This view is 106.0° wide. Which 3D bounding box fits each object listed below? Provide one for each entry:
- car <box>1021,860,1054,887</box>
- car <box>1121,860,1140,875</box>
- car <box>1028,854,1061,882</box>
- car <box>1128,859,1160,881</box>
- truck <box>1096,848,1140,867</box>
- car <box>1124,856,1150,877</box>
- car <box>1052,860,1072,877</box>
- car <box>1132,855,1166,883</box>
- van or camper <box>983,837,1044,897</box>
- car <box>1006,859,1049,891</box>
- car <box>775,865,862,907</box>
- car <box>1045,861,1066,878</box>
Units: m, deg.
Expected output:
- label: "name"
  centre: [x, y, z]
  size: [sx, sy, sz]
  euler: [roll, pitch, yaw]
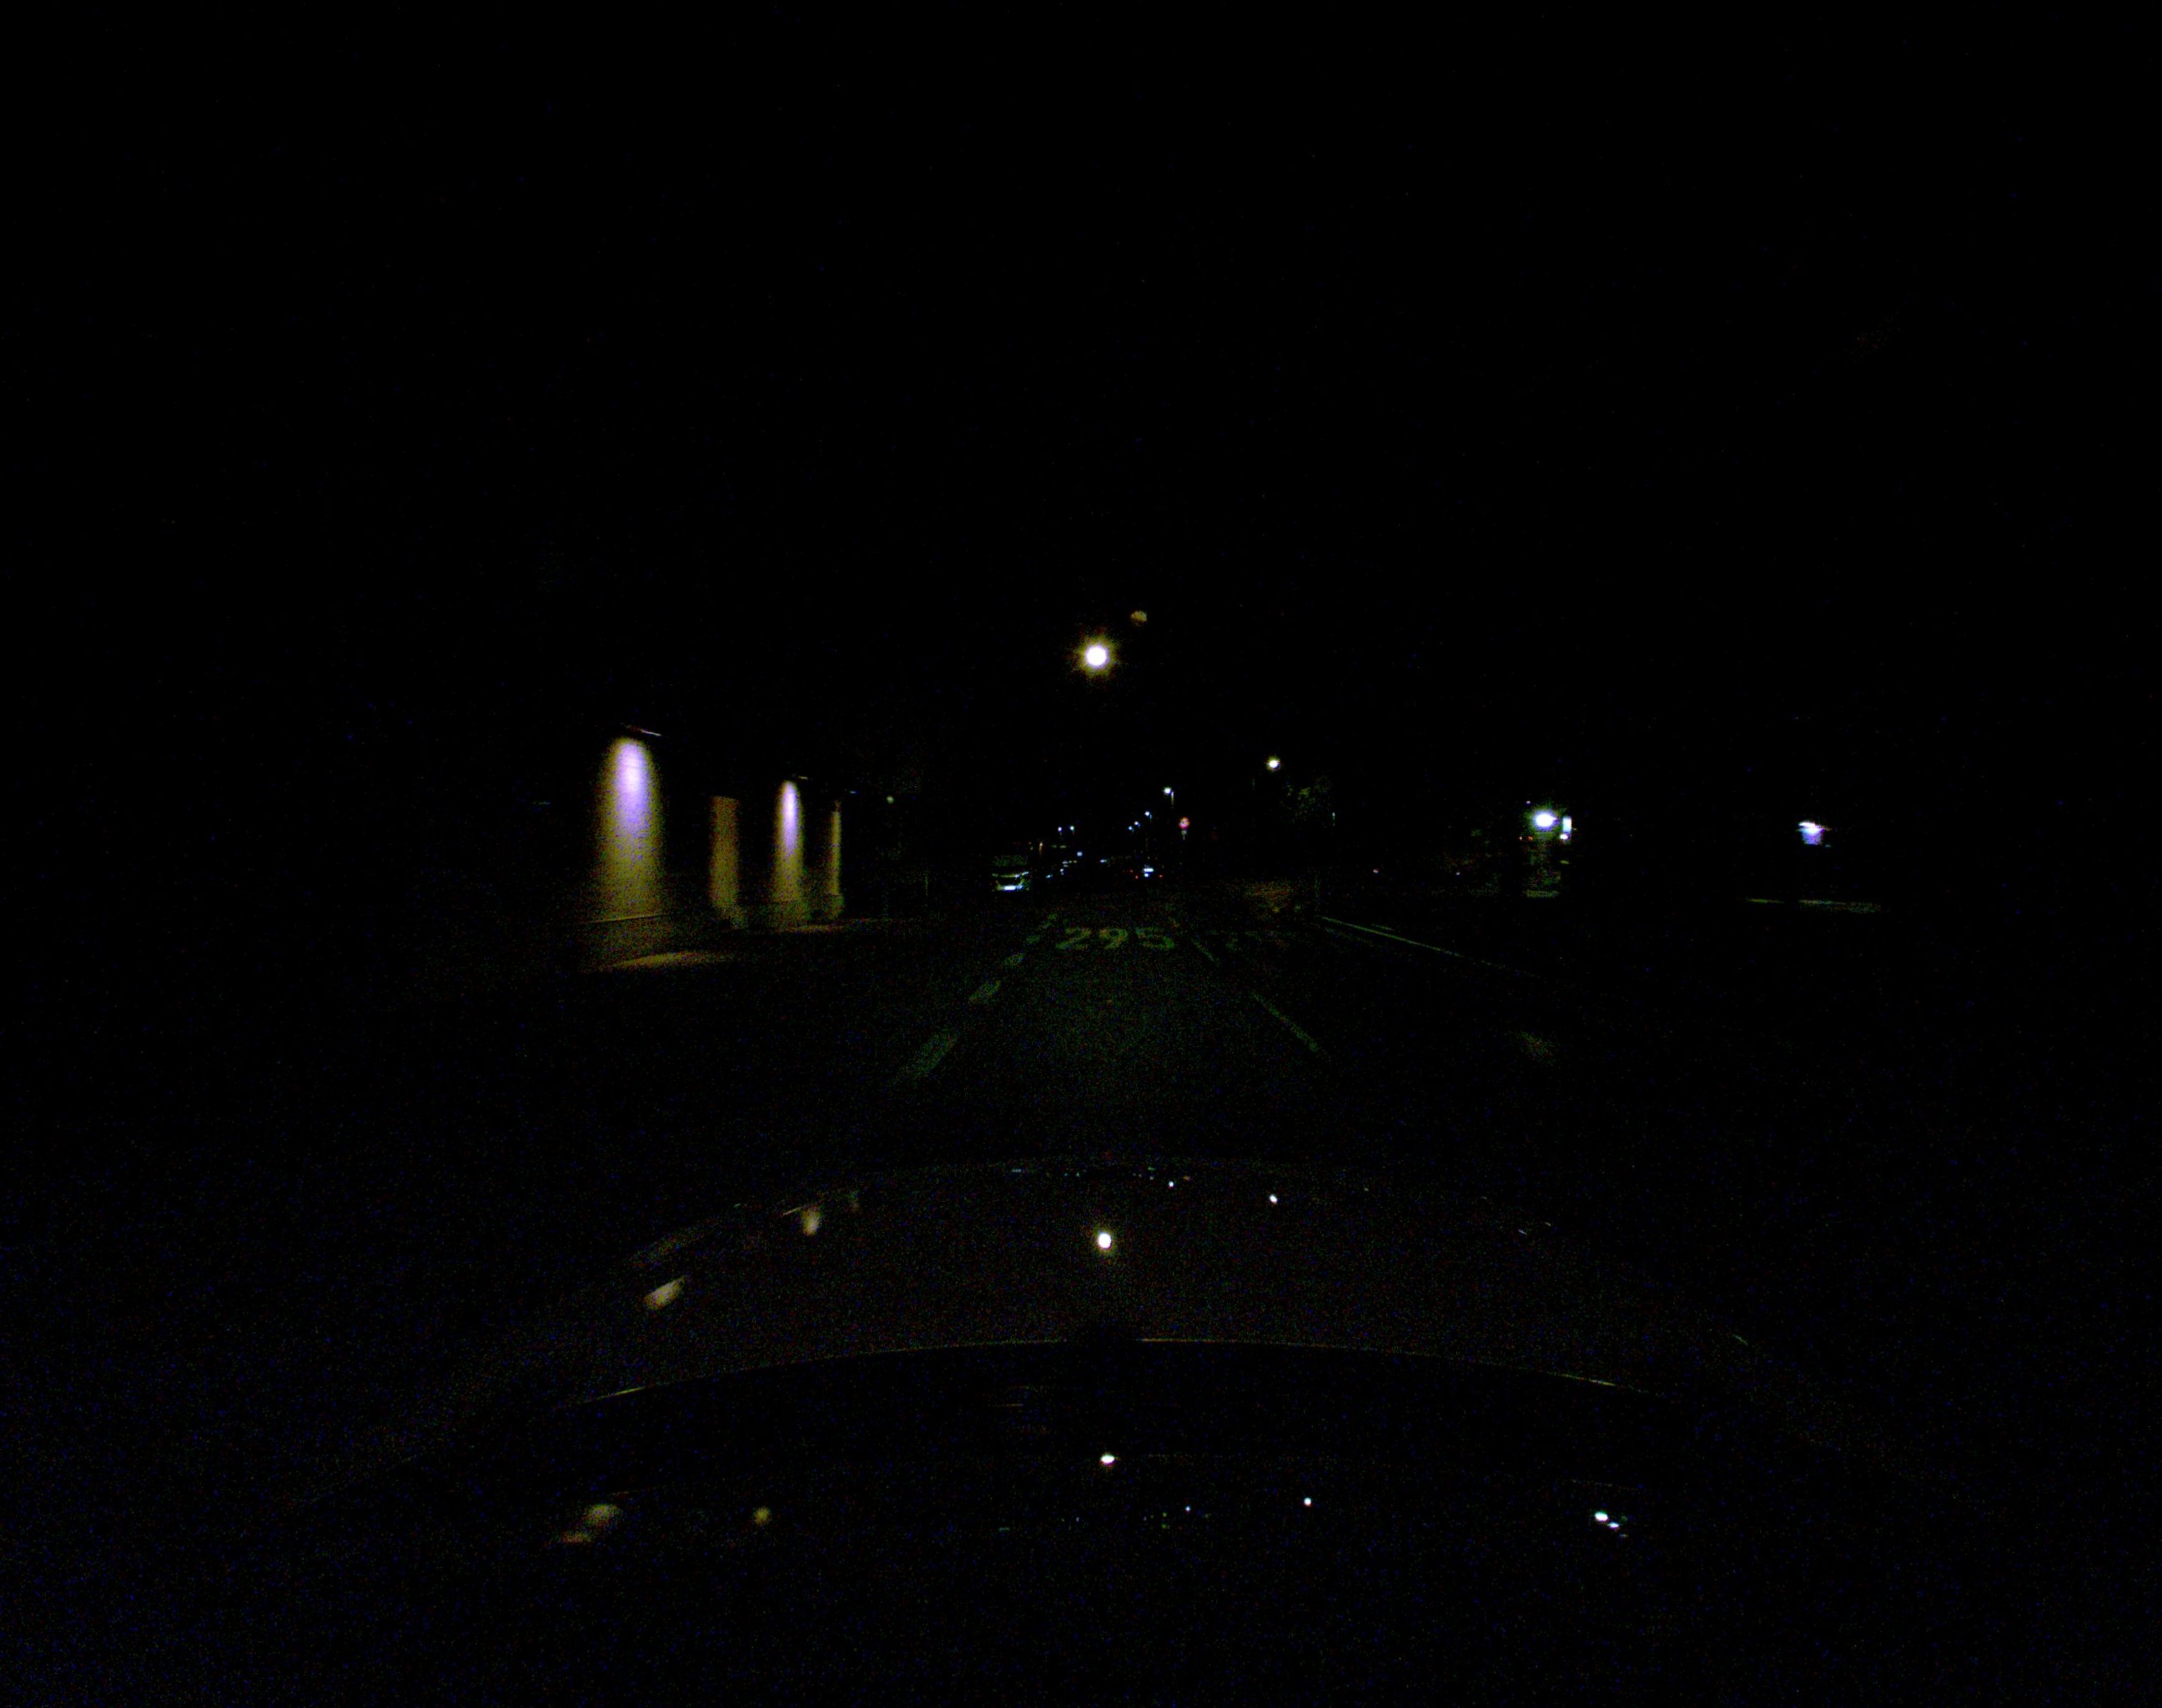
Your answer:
- label: "car"
  centre: [-2.722, 1.164, 50.113]
  size: [1.836, 1.507, 4.733]
  euler: [-2, -1, -5]
- label: "car"
  centre: [5.042, 1.337, 83.641]
  size: [1.752, 1.445, 4.026]
  euler: [-2, 0, 1]
- label: "car"
  centre: [-2.654, 0.992, 60.296]
  size: [1.986, 1.955, 4.807]
  euler: [-1, -1, 2]
- label: "car"
  centre: [4.176, 1.075, 54.781]
  size: [1.956, 1.383, 4.002]
  euler: [-1, -1, 2]
- label: "truck"
  centre: [5.793, 0.542, 127.092]
  size: [6.757, 2.844, 1.999]
  euler: [0, 0, -2]
- label: "car"
  centre: [4.941, 1.106, 72.650]
  size: [2.032, 1.694, 4.884]
  euler: [-3, -1, 2]
- label: "car"
  centre: [-1.821, 1.397, 78.551]
  size: [1.671, 1.566, 4.106]
  euler: [-1, -1, 1]
- label: "car"
  centre: [4.102, 0.899, 49.544]
  size: [1.876, 1.603, 4.111]
  euler: [-3, -1, 4]
- label: "van or camper"
  centre: [-3.140, 0.610, 39.146]
  size: [2.150, 2.535, 6.228]
  euler: [-3, -1, 1]
- label: "car"
  centre: [-2.867, 1.096, 44.684]
  size: [1.885, 1.591, 4.375]
  euler: [-3, -1, 1]
- label: "car"
  centre: [-10.060, 1.225, 31.356]
  size: [2.799, 1.513, 1.490]
  euler: [-1, -1, 1]
- label: "car"
  centre: [-2.237, 1.363, 72.609]
  size: [1.699, 1.510, 4.100]
  euler: [0, -1, 1]
